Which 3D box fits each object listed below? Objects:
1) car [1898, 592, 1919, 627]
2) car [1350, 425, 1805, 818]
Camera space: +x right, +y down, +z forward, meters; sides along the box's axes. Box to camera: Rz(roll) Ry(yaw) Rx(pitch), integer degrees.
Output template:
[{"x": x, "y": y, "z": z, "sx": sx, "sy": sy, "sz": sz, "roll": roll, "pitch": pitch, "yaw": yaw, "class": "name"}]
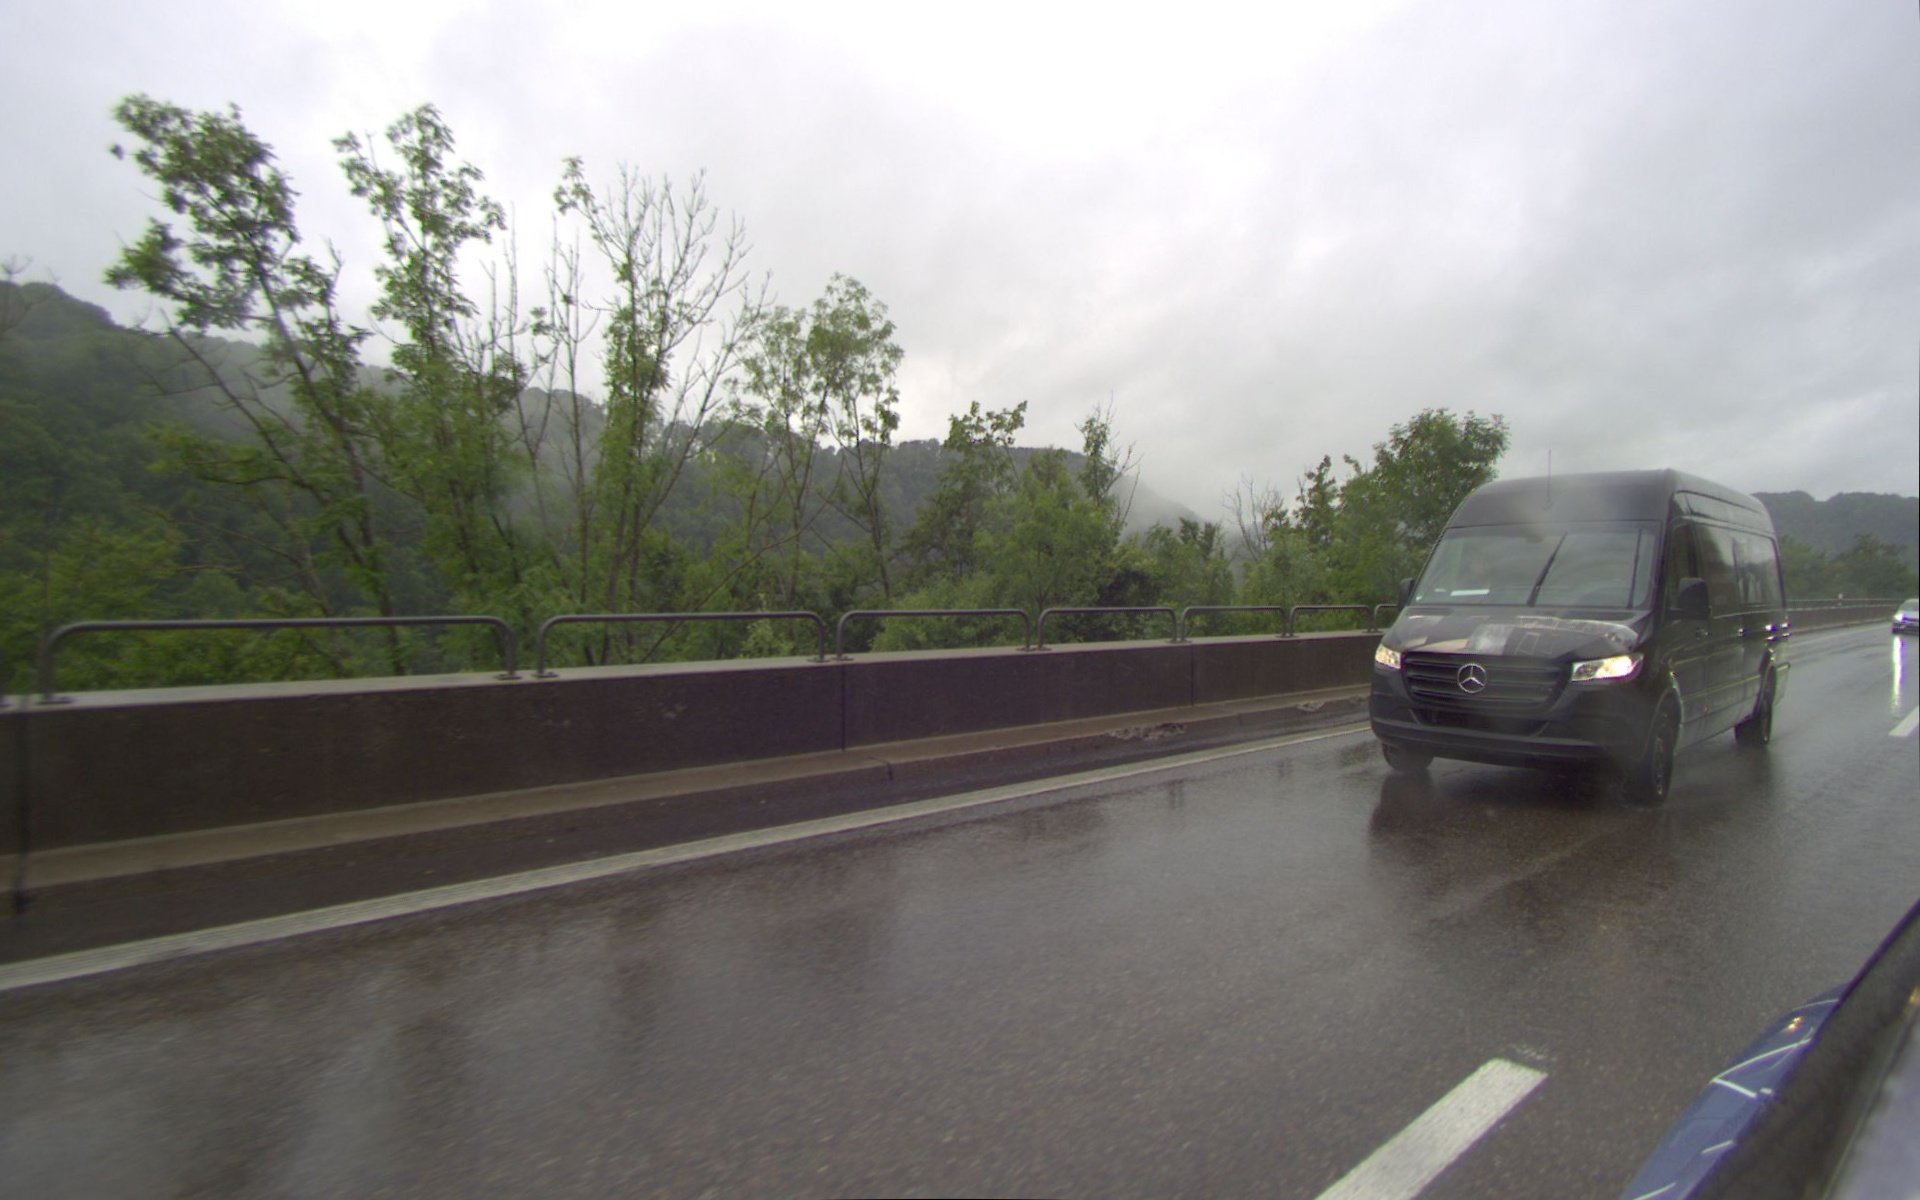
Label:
[{"x": 41.282, "y": 0.400, "z": 42.797, "sx": 4.486, "sy": 1.433, "sz": 1.988, "roll": 0, "pitch": 0, "yaw": -42, "class": "car"}, {"x": 6.148, "y": 0.102, "z": 9.509, "sx": 6.593, "sy": 2.525, "sz": 1.995, "roll": 0, "pitch": 1, "yaw": -44, "class": "car"}]
